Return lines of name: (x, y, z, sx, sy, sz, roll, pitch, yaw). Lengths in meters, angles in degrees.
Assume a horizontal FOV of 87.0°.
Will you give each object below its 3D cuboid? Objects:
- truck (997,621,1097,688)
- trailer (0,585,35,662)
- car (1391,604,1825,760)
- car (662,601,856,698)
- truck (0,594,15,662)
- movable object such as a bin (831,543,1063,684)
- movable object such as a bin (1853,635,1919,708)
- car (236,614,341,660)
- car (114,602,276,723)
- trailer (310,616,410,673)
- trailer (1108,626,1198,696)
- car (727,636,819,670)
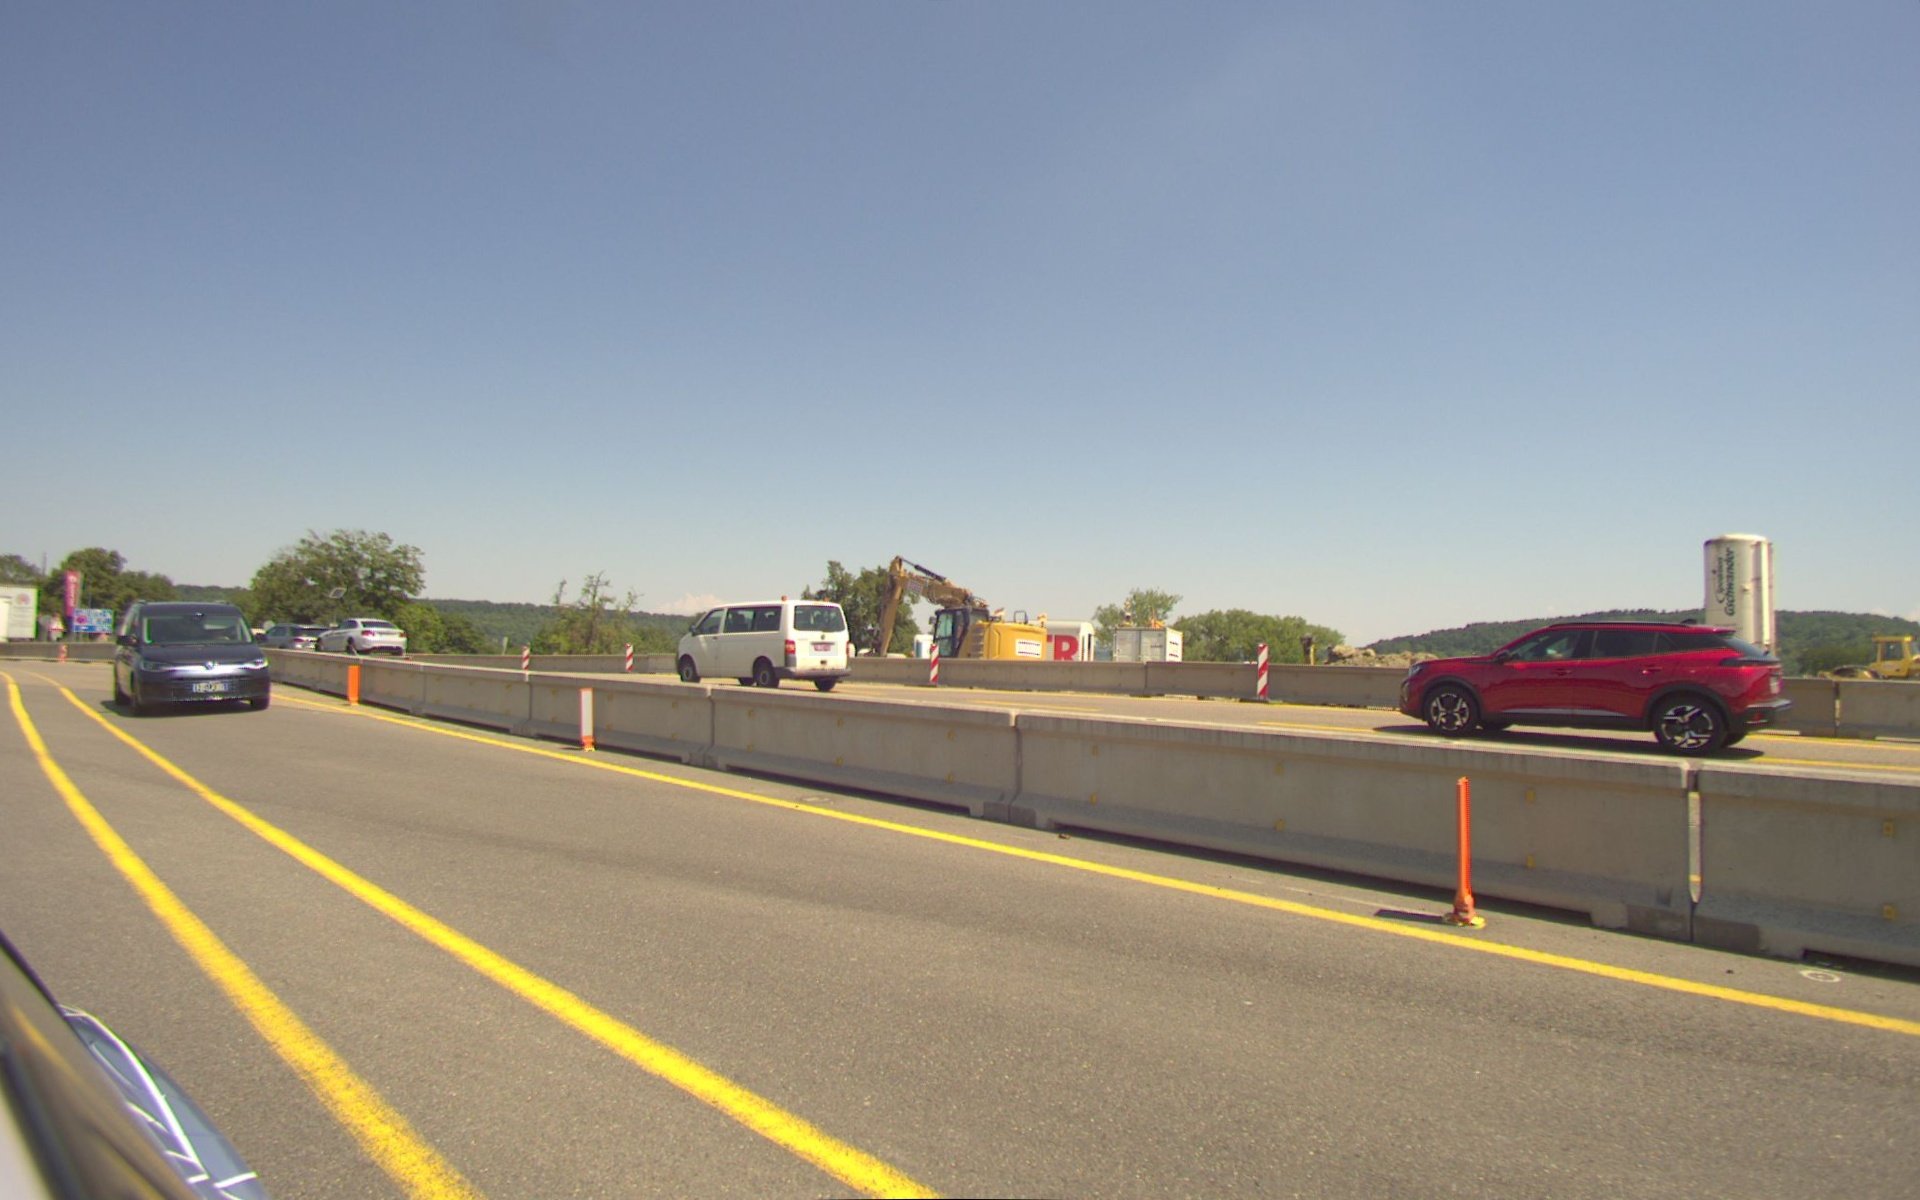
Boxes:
truck: (4.160, 2.559, 48.391, 4.241, 3.067, 2.328, -1, -3, 26)
trailer: (-58.263, 1.379, 58.163, 12.988, 4.184, 2.573, -1, -3, 25)
car: (7.980, 0.950, 12.786, 1.700, 1.640, 4.338, 3, -4, -45)
car: (-4.660, 1.116, 23.039, 4.893, 1.968, 1.845, -2, -4, 44)
truck: (-51.257, 1.411, 51.310, 6.892, 3.407, 2.564, -1, -3, 27)
movable object such as a bin: (-0.743, 0.620, 35.792, 2.887, 4.363, 9.340, 3, -4, -40)
movable object such as a bin: (42.446, 3.127, 44.437, 1.968, 3.165, 4.494, 3, -4, -39)
car: (-27.952, 1.545, 42.081, 4.893, 1.820, 1.850, -1, -3, 34)
car: (-13.286, 0.993, 17.467, 1.897, 1.803, 4.610, 1, -2, -41)
trailer: (-23.012, 1.696, 38.758, 4.431, 2.037, 1.847, -2, -4, 39)
trailer: (9.028, 2.767, 46.878, 2.867, 3.020, 5.534, -1, -3, 25)
car: (-10.164, 2.861, 55.024, 4.856, 1.726, 1.711, -1, -3, 25)
